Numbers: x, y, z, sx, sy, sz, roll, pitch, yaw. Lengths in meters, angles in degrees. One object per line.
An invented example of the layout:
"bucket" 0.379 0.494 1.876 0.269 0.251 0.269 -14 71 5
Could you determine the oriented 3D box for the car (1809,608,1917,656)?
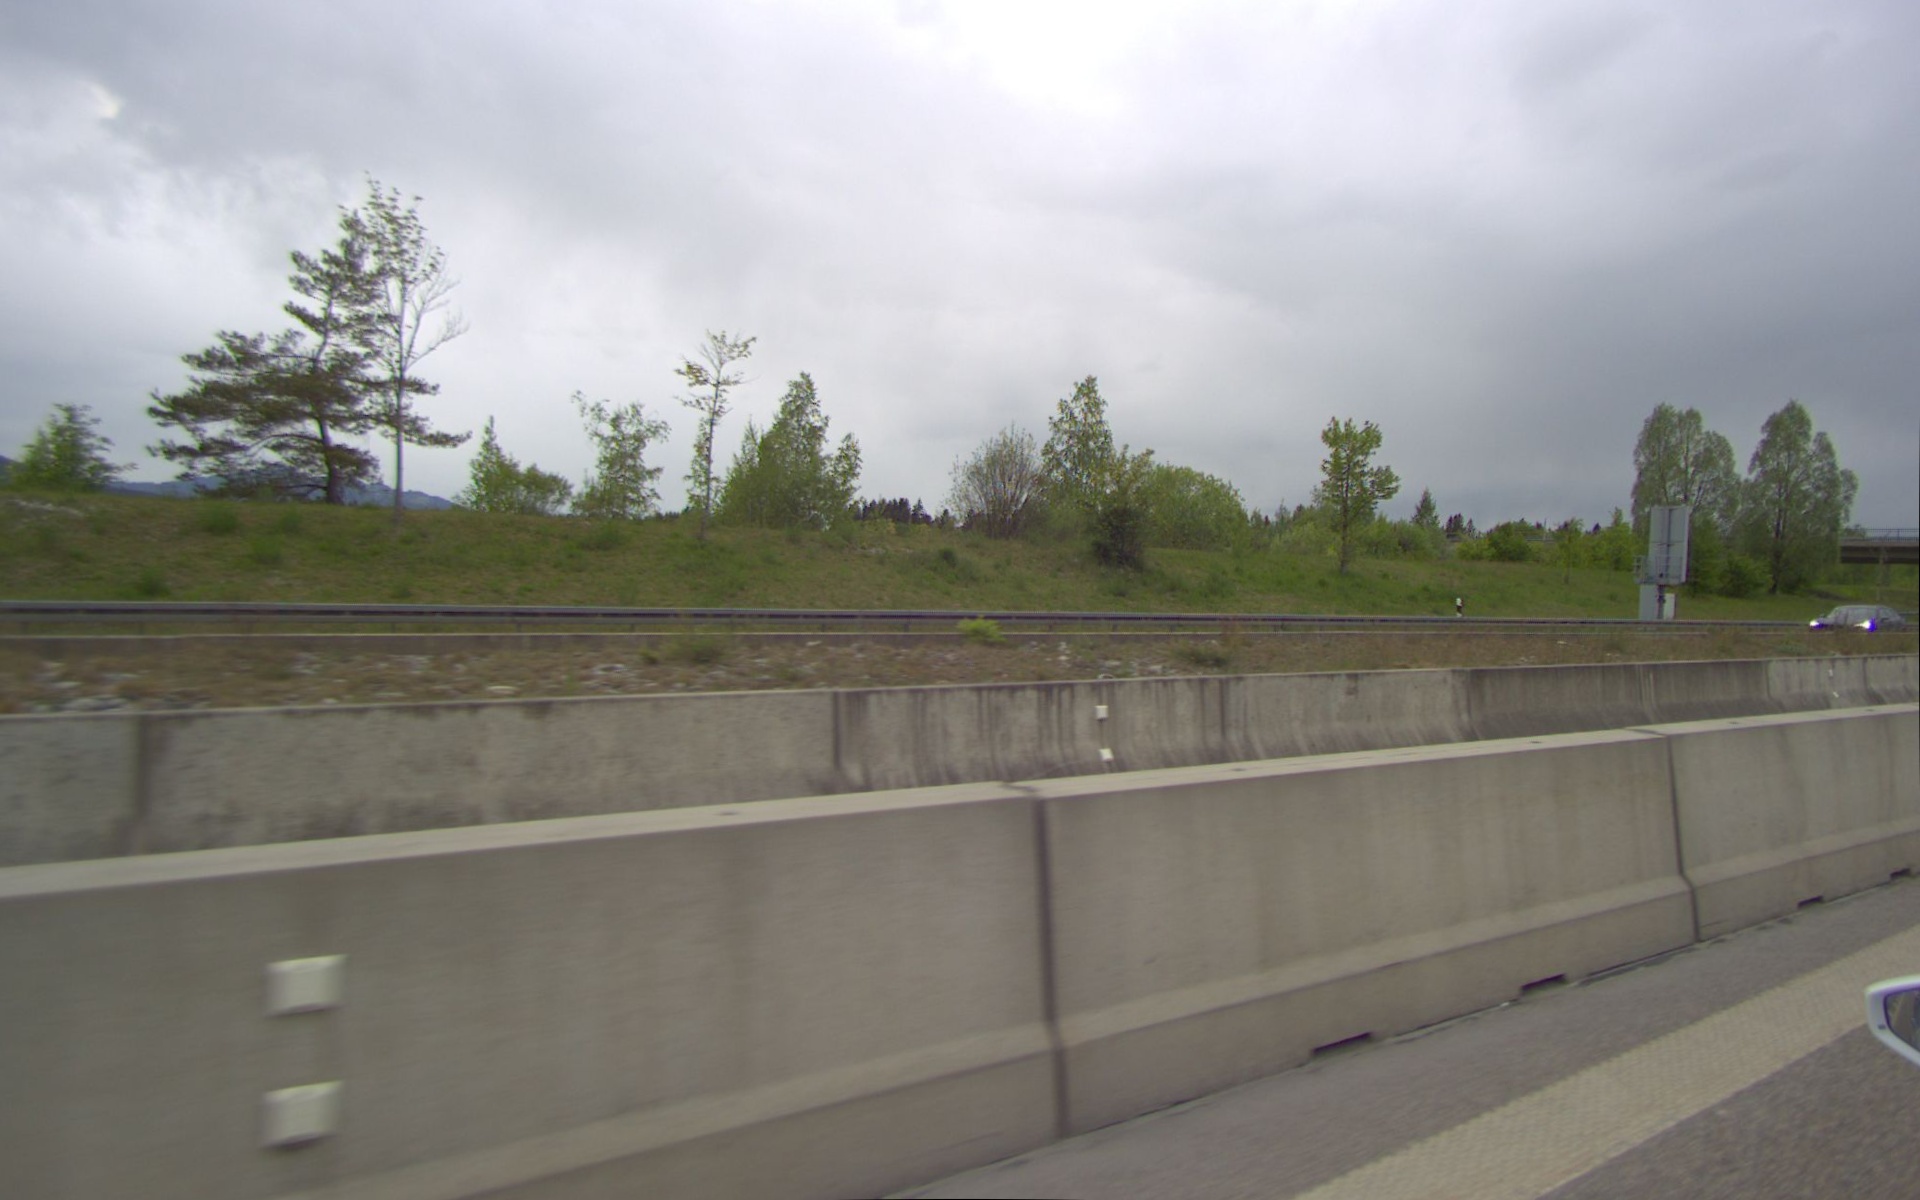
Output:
"car" 32.414 1.126 36.028 4.128 1.596 1.693 1 1 -31
